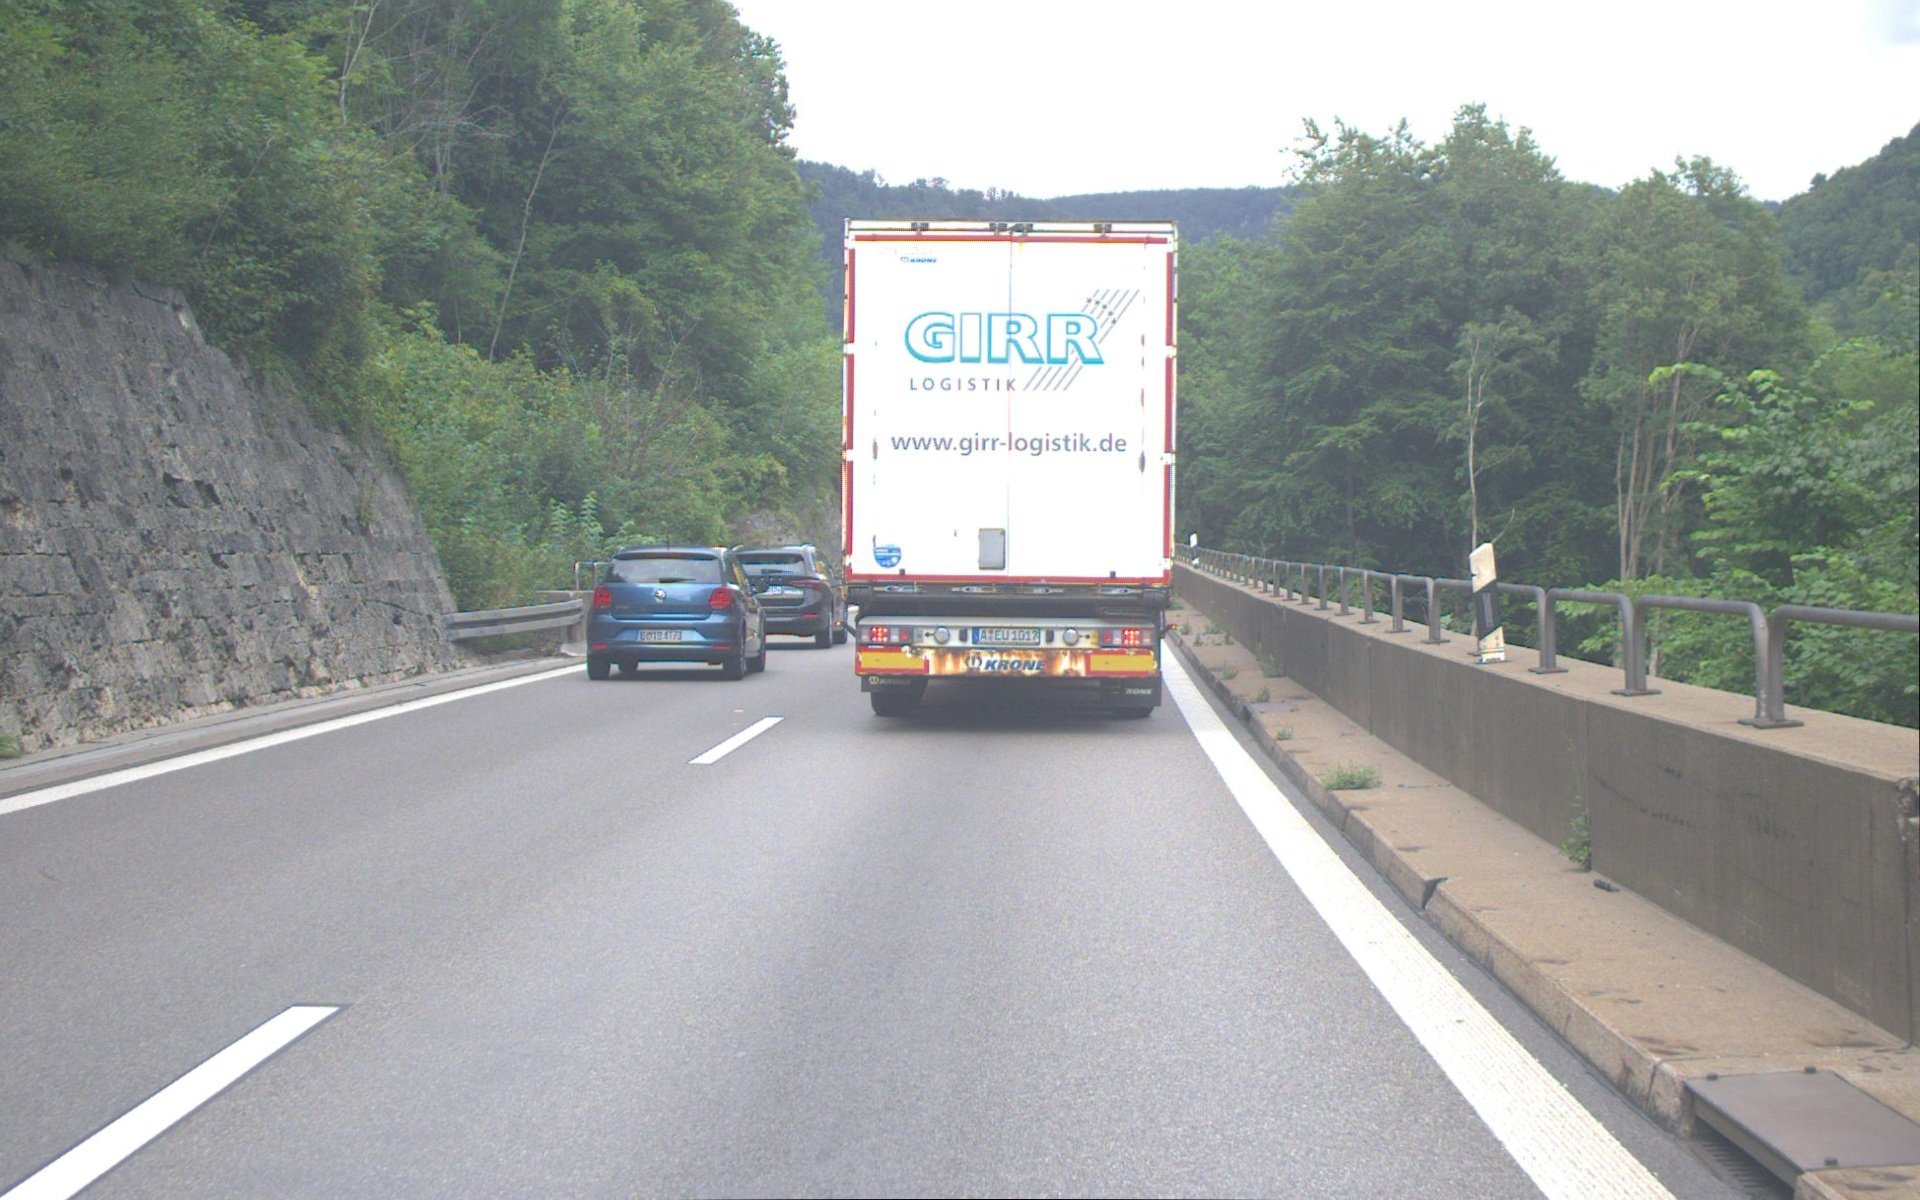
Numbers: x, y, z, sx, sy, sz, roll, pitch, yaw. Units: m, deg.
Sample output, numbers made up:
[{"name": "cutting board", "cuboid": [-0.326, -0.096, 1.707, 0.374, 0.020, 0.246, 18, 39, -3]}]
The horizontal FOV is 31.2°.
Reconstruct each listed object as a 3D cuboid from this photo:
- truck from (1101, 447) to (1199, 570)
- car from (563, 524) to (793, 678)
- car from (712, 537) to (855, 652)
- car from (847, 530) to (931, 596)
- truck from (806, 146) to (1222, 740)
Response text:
[{"name": "truck", "cuboid": [6.120, -2.863, 110.132, 2.971, 3.752, 10.360, 0, 1, 3]}, {"name": "car", "cuboid": [-3.020, -0.035, 37.699, 1.994, 1.590, 4.353, 0, 1, 2]}, {"name": "car", "cuboid": [-2.492, -0.081, 49.231, 1.745, 1.581, 4.000, 0, 0, 1]}, {"name": "car", "cuboid": [-1.602, -0.828, 78.940, 1.745, 1.481, 4.000, 0, 0, 1]}, {"name": "truck", "cuboid": [0.637, -1.360, 33.577, 3.084, 4.448, 15.155, 1, 1, 2]}]
